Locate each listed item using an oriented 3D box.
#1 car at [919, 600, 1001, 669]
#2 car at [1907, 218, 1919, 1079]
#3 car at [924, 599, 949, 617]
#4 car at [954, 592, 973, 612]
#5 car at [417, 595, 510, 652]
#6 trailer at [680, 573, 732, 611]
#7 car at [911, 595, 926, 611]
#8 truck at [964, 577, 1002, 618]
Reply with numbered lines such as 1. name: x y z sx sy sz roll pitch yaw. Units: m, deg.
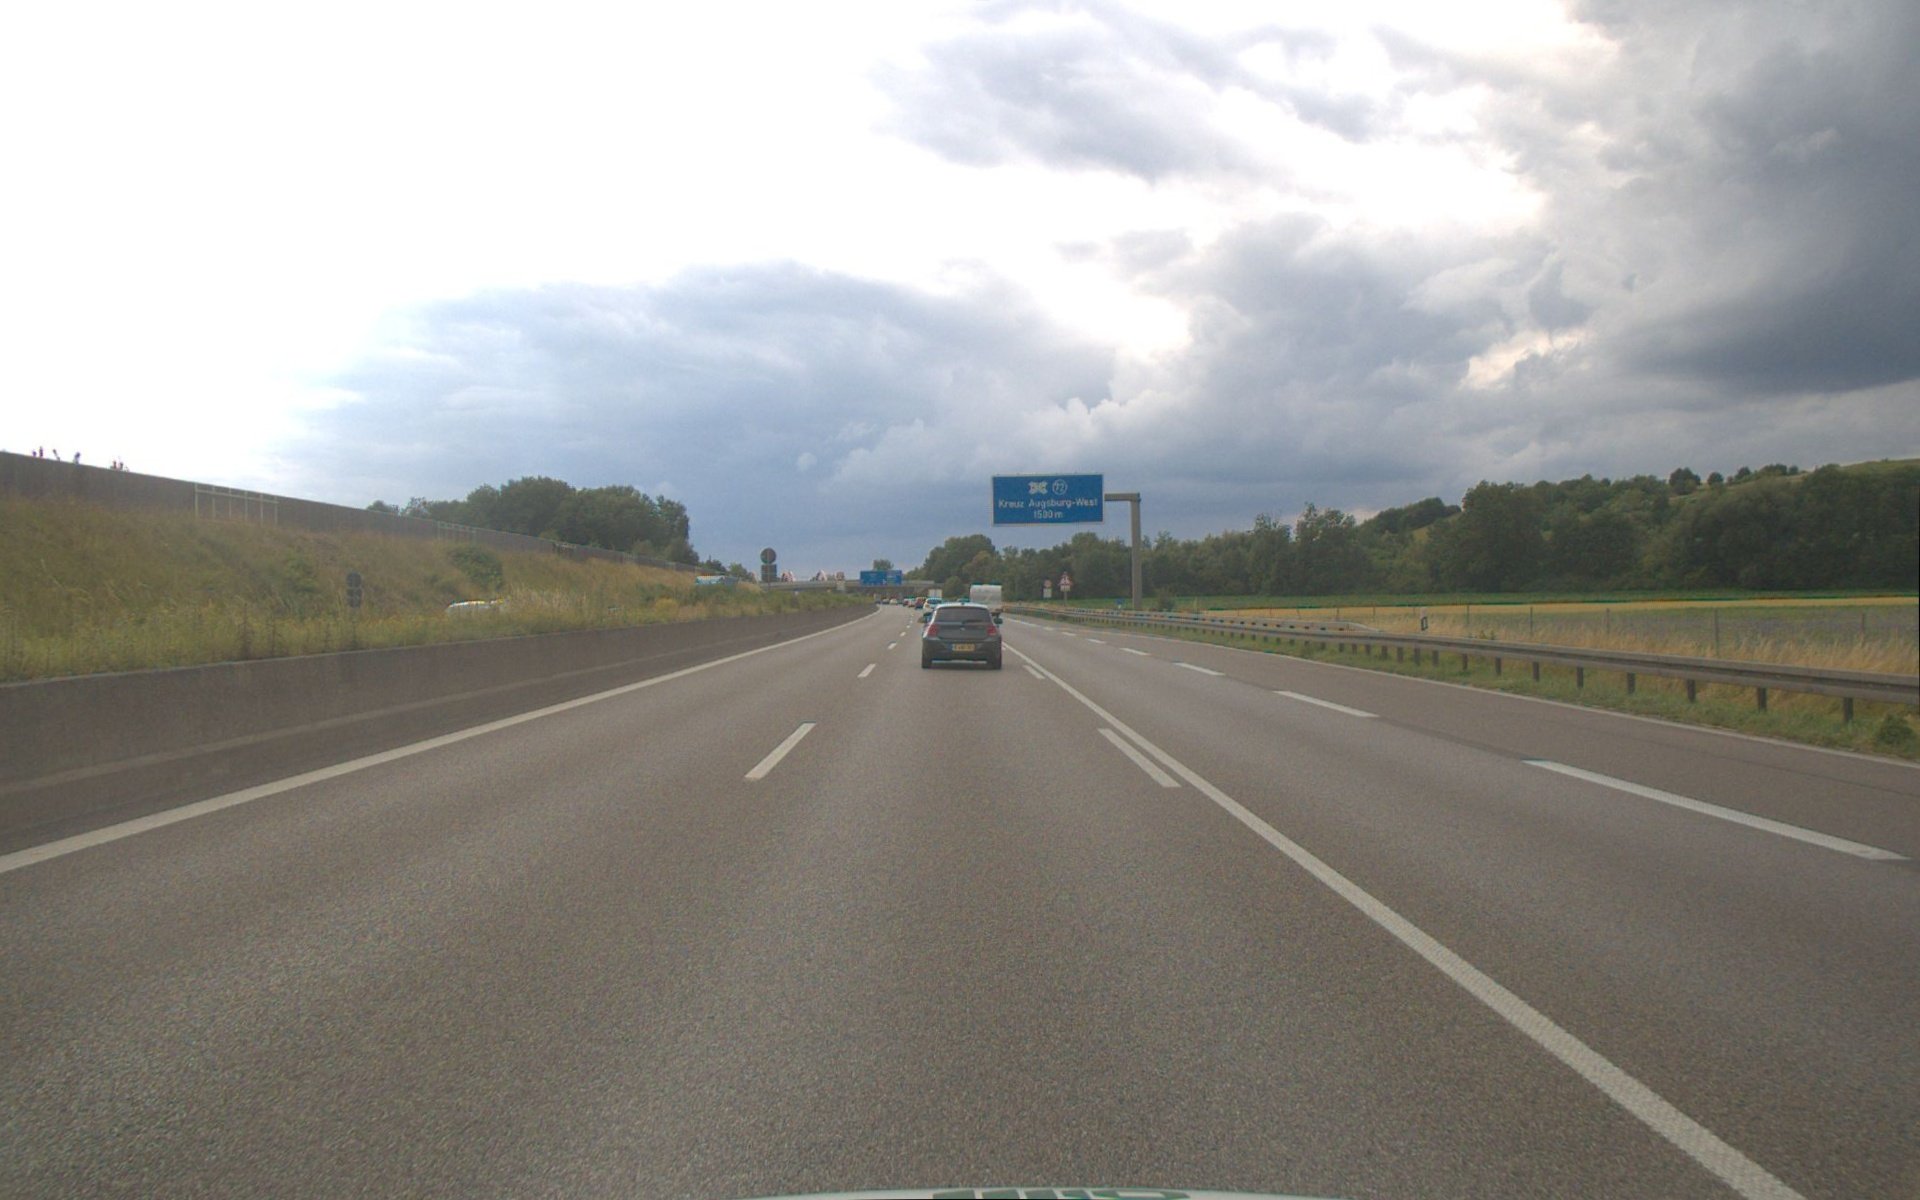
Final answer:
1. car: -0.021 0.725 36.852 1.708 1.413 4.000 1 0 -1
2. car: 4.021 0.165 1.973 2.176 2.613 6.255 0 0 0
3. car: -1.856 0.602 130.260 1.953 1.321 3.999 -1 0 -1
4. car: 0.349 0.203 177.819 1.953 2.049 3.999 -1 0 -1
5. car: -12.933 0.593 43.266 1.504 1.413 3.332 1 0 -2
6. trailer: -22.164 -0.687 144.938 2.878 3.064 11.614 1 0 -1
7. car: -5.639 0.402 224.387 1.953 2.049 3.999 -1 0 -1
8. truck: 1.768 -0.194 130.954 2.655 3.016 12.445 1 0 -1
